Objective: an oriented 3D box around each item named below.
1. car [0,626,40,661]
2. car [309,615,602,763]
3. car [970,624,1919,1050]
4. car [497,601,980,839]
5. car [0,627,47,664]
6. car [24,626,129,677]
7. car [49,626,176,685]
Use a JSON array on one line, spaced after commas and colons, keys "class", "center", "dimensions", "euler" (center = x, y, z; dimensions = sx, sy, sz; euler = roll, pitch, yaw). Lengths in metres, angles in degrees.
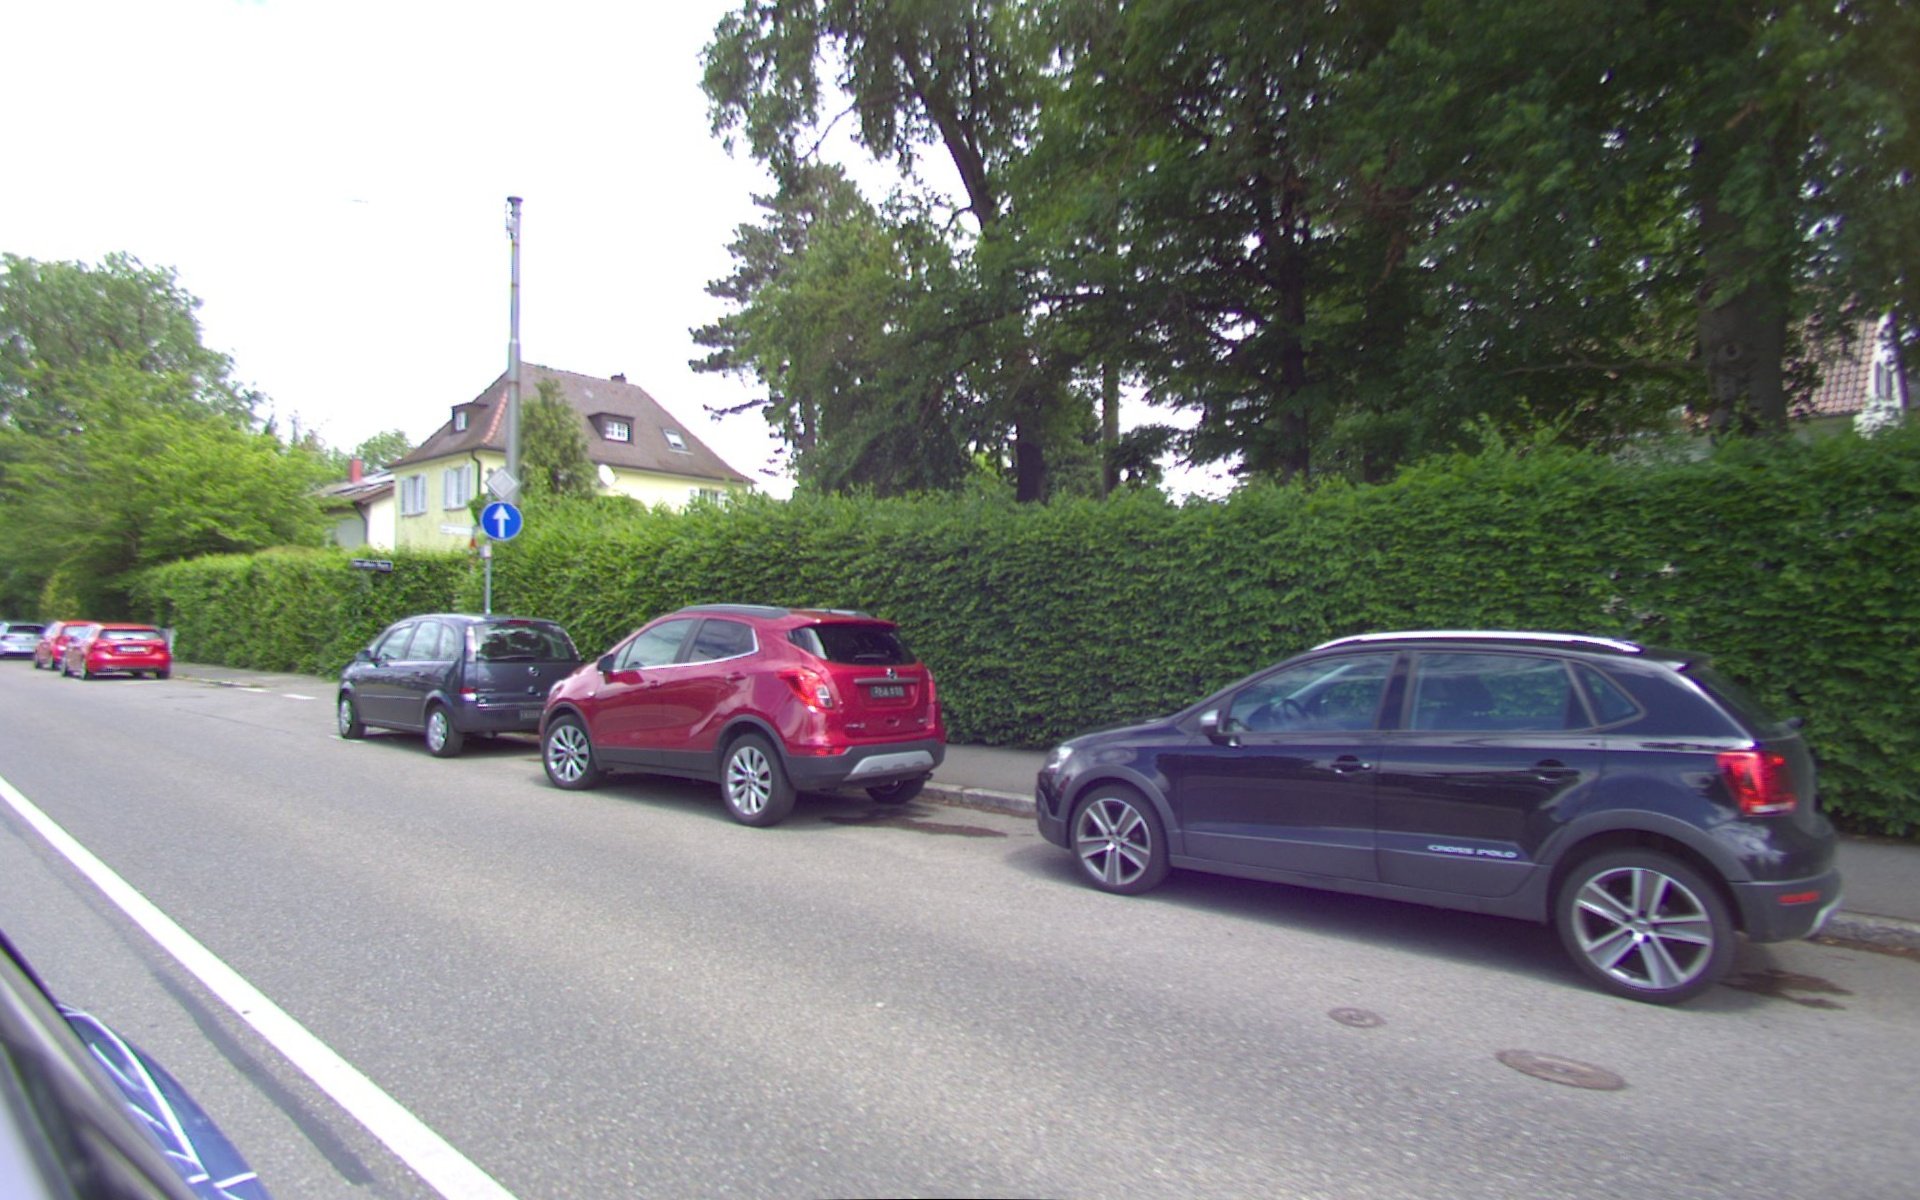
[{"class": "car", "center": [-40.918, 1.840, 43.251], "dimensions": [3.896, 1.413, 1.796], "euler": [-1, -2, 40]}, {"class": "car", "center": [-6.432, 0.997, 12.702], "dimensions": [4.324, 1.546, 1.739], "euler": [-1, -3, 41]}, {"class": "car", "center": [2.232, 0.874, 5.519], "dimensions": [4.232, 1.470, 1.716], "euler": [-1, -2, 39]}, {"class": "car", "center": [-2.114, 0.868, 8.966], "dimensions": [4.410, 1.623, 1.773], "euler": [-1, -2, 38]}, {"class": "car", "center": [-36.910, 1.759, 39.511], "dimensions": [1.653, 1.381, 3.608], "euler": [4, -4, -44]}, {"class": "car", "center": [-27.282, 1.544, 31.219], "dimensions": [3.745, 1.461, 1.830], "euler": [-1, -2, 39]}, {"class": "car", "center": [-22.359, 1.402, 26.654], "dimensions": [4.063, 1.413, 1.946], "euler": [-1, -2, 41]}]
